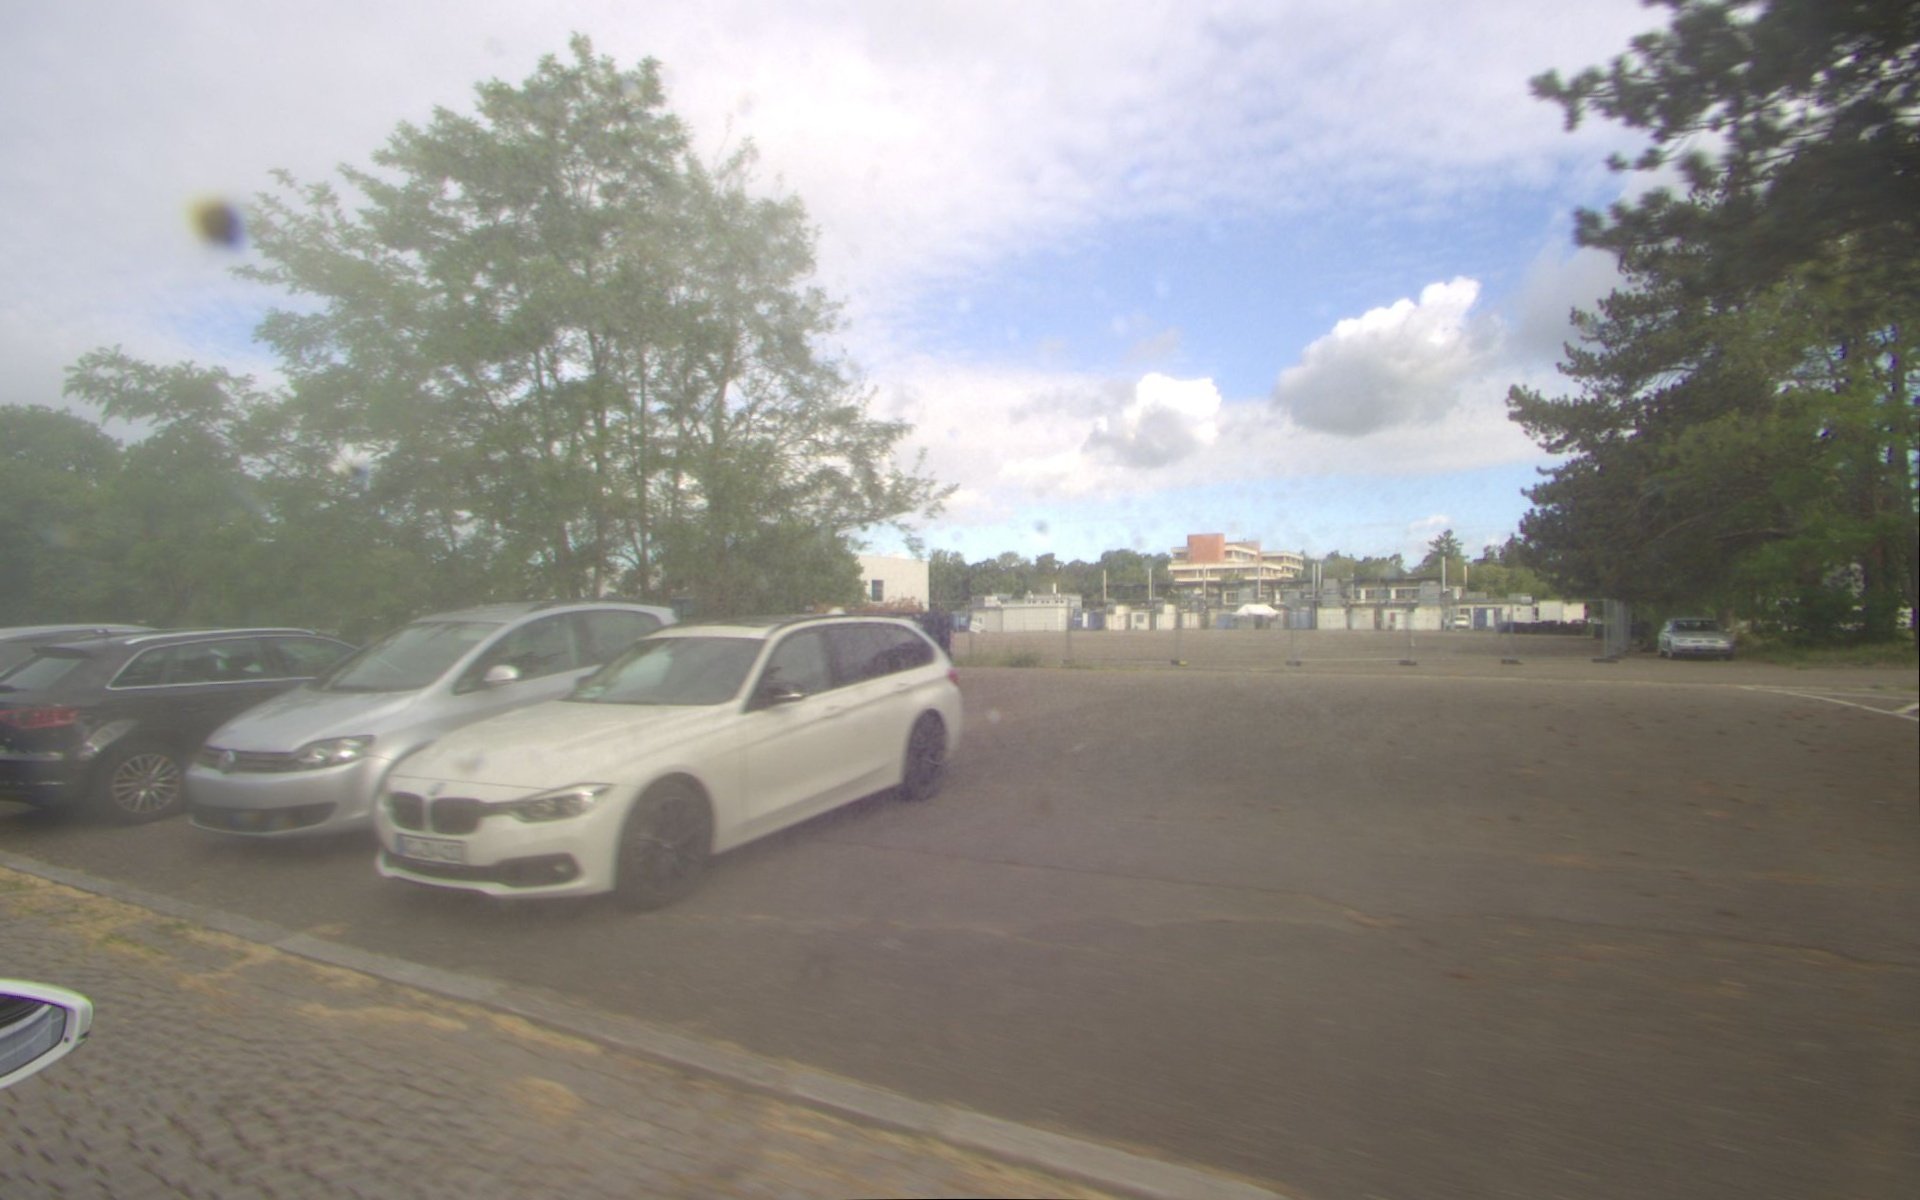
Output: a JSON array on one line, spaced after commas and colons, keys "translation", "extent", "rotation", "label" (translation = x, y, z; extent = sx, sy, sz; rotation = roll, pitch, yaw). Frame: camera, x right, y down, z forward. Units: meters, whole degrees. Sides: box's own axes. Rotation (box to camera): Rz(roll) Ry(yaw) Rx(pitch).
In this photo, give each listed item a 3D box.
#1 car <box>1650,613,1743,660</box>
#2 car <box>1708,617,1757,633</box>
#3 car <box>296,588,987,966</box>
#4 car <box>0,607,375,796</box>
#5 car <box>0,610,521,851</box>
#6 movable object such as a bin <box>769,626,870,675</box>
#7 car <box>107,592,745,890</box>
[{"translation": [25.167, 1.220, 34.366], "extent": [1.942, 1.502, 3.985], "rotation": [-1, -1, 27], "label": "car"}, {"translation": [92.096, 2.929, 119.454], "extent": [4.409, 1.855, 1.991], "rotation": [-1, -1, 29], "label": "car"}, {"translation": [-1.645, 0.780, 6.893], "extent": [1.875, 1.587, 4.487], "rotation": [-1, 2, 27], "label": "car"}, {"translation": [-8.665, 0.930, 10.445], "extent": [1.776, 1.536, 4.068], "rotation": [-1, 2, 27], "label": "car"}, {"translation": [-6.366, 0.926, 9.090], "extent": [1.856, 1.473, 4.068], "rotation": [-1, 2, 28], "label": "car"}, {"translation": [-3.076, 1.086, 22.246], "extent": [0.840, 1.001, 2.681], "rotation": [0, -1, 27], "label": "movable object such as a bin"}, {"translation": [-3.844, 0.814, 8.111], "extent": [1.855, 1.618, 4.236], "rotation": [-1, 2, 26], "label": "car"}]
